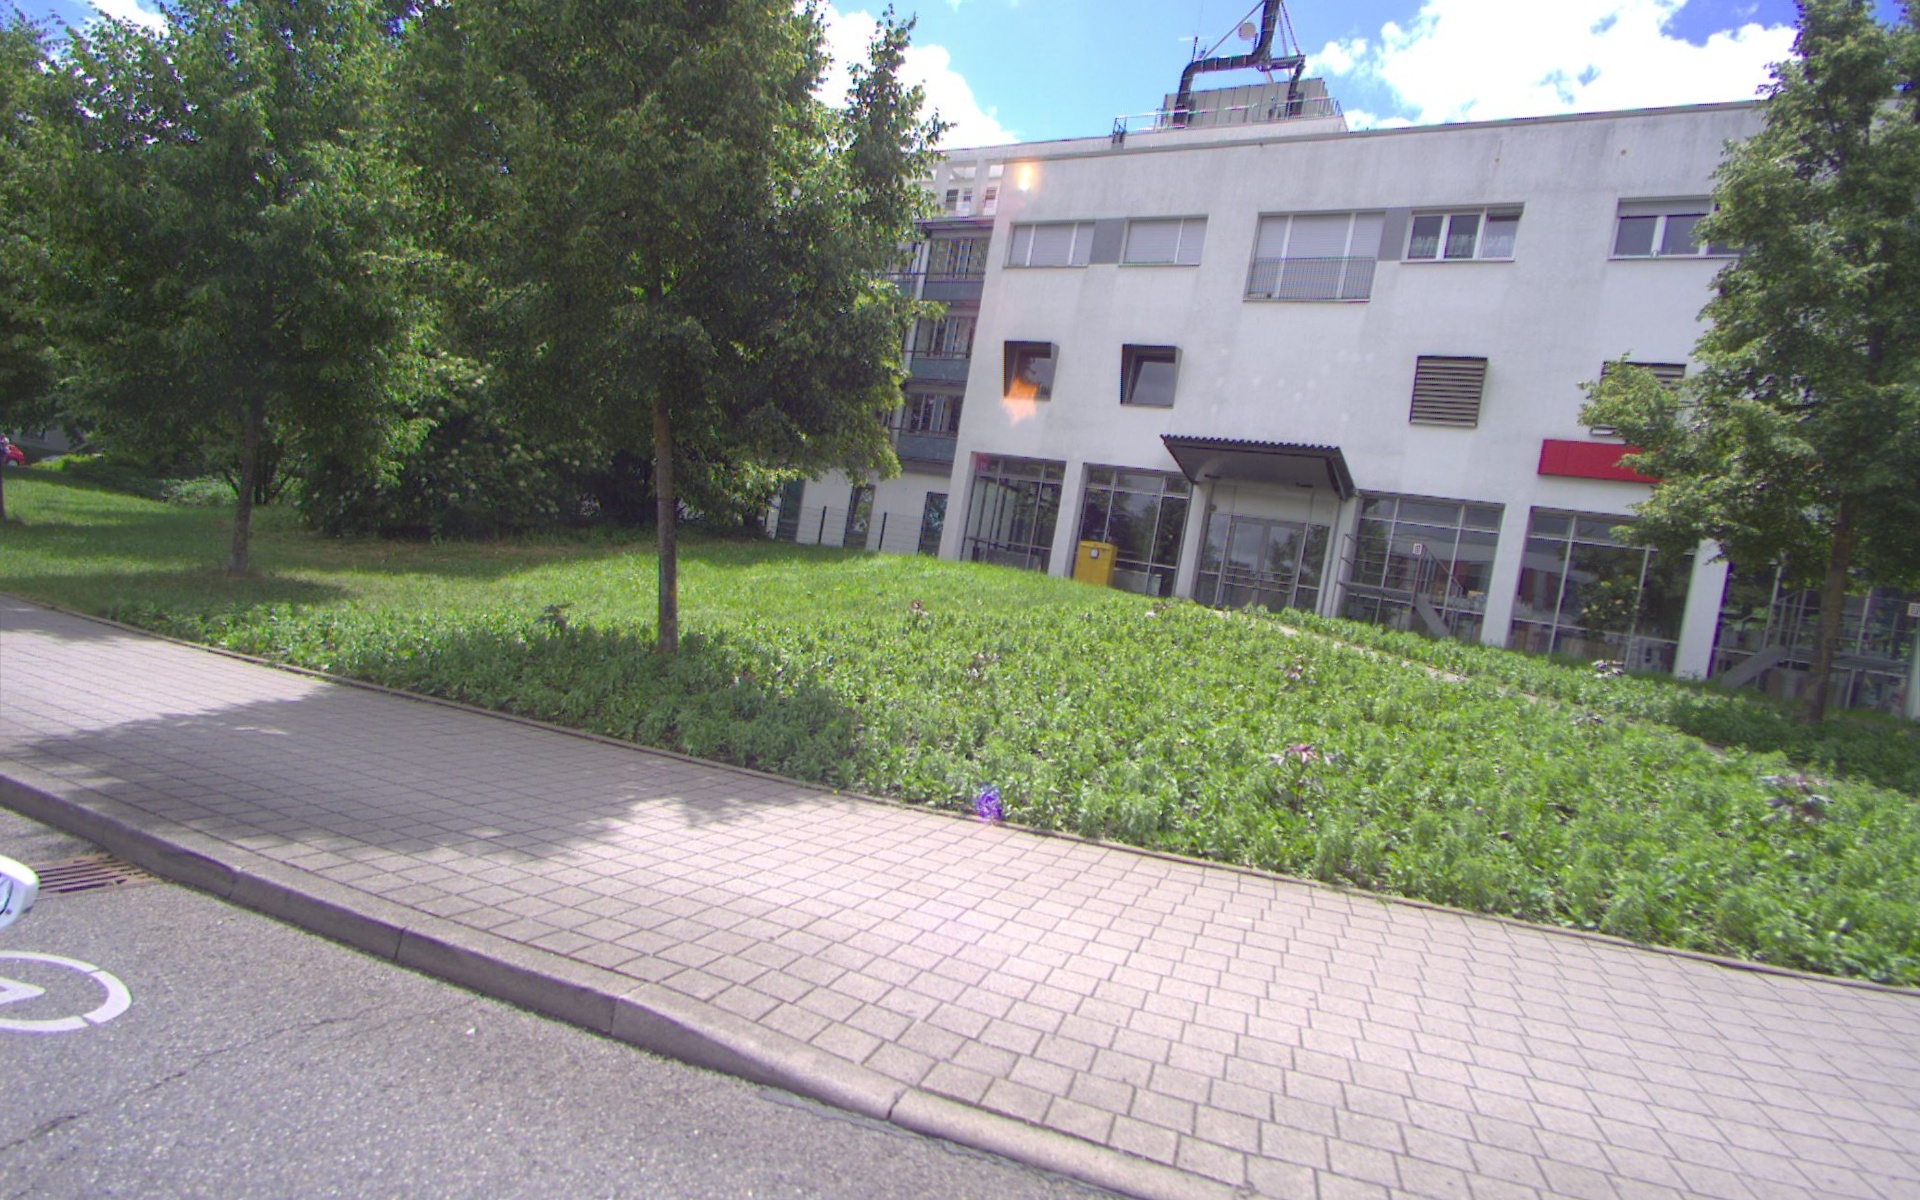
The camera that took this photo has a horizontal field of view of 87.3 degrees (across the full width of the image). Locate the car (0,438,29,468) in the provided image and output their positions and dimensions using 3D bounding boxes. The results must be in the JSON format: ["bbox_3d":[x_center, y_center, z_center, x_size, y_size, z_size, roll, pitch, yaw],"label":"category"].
[{"bbox_3d":[-58.043,-8.974,59.315,1.964,1.521,4.089,11,2,25],"label":"car"}]

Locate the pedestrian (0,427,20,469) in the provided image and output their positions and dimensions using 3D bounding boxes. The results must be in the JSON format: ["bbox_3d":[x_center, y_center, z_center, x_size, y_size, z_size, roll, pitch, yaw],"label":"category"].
[{"bbox_3d":[-43.557,-6.929,45.684,0.845,1.782,0.985,9,2,37],"label":"pedestrian"}]
